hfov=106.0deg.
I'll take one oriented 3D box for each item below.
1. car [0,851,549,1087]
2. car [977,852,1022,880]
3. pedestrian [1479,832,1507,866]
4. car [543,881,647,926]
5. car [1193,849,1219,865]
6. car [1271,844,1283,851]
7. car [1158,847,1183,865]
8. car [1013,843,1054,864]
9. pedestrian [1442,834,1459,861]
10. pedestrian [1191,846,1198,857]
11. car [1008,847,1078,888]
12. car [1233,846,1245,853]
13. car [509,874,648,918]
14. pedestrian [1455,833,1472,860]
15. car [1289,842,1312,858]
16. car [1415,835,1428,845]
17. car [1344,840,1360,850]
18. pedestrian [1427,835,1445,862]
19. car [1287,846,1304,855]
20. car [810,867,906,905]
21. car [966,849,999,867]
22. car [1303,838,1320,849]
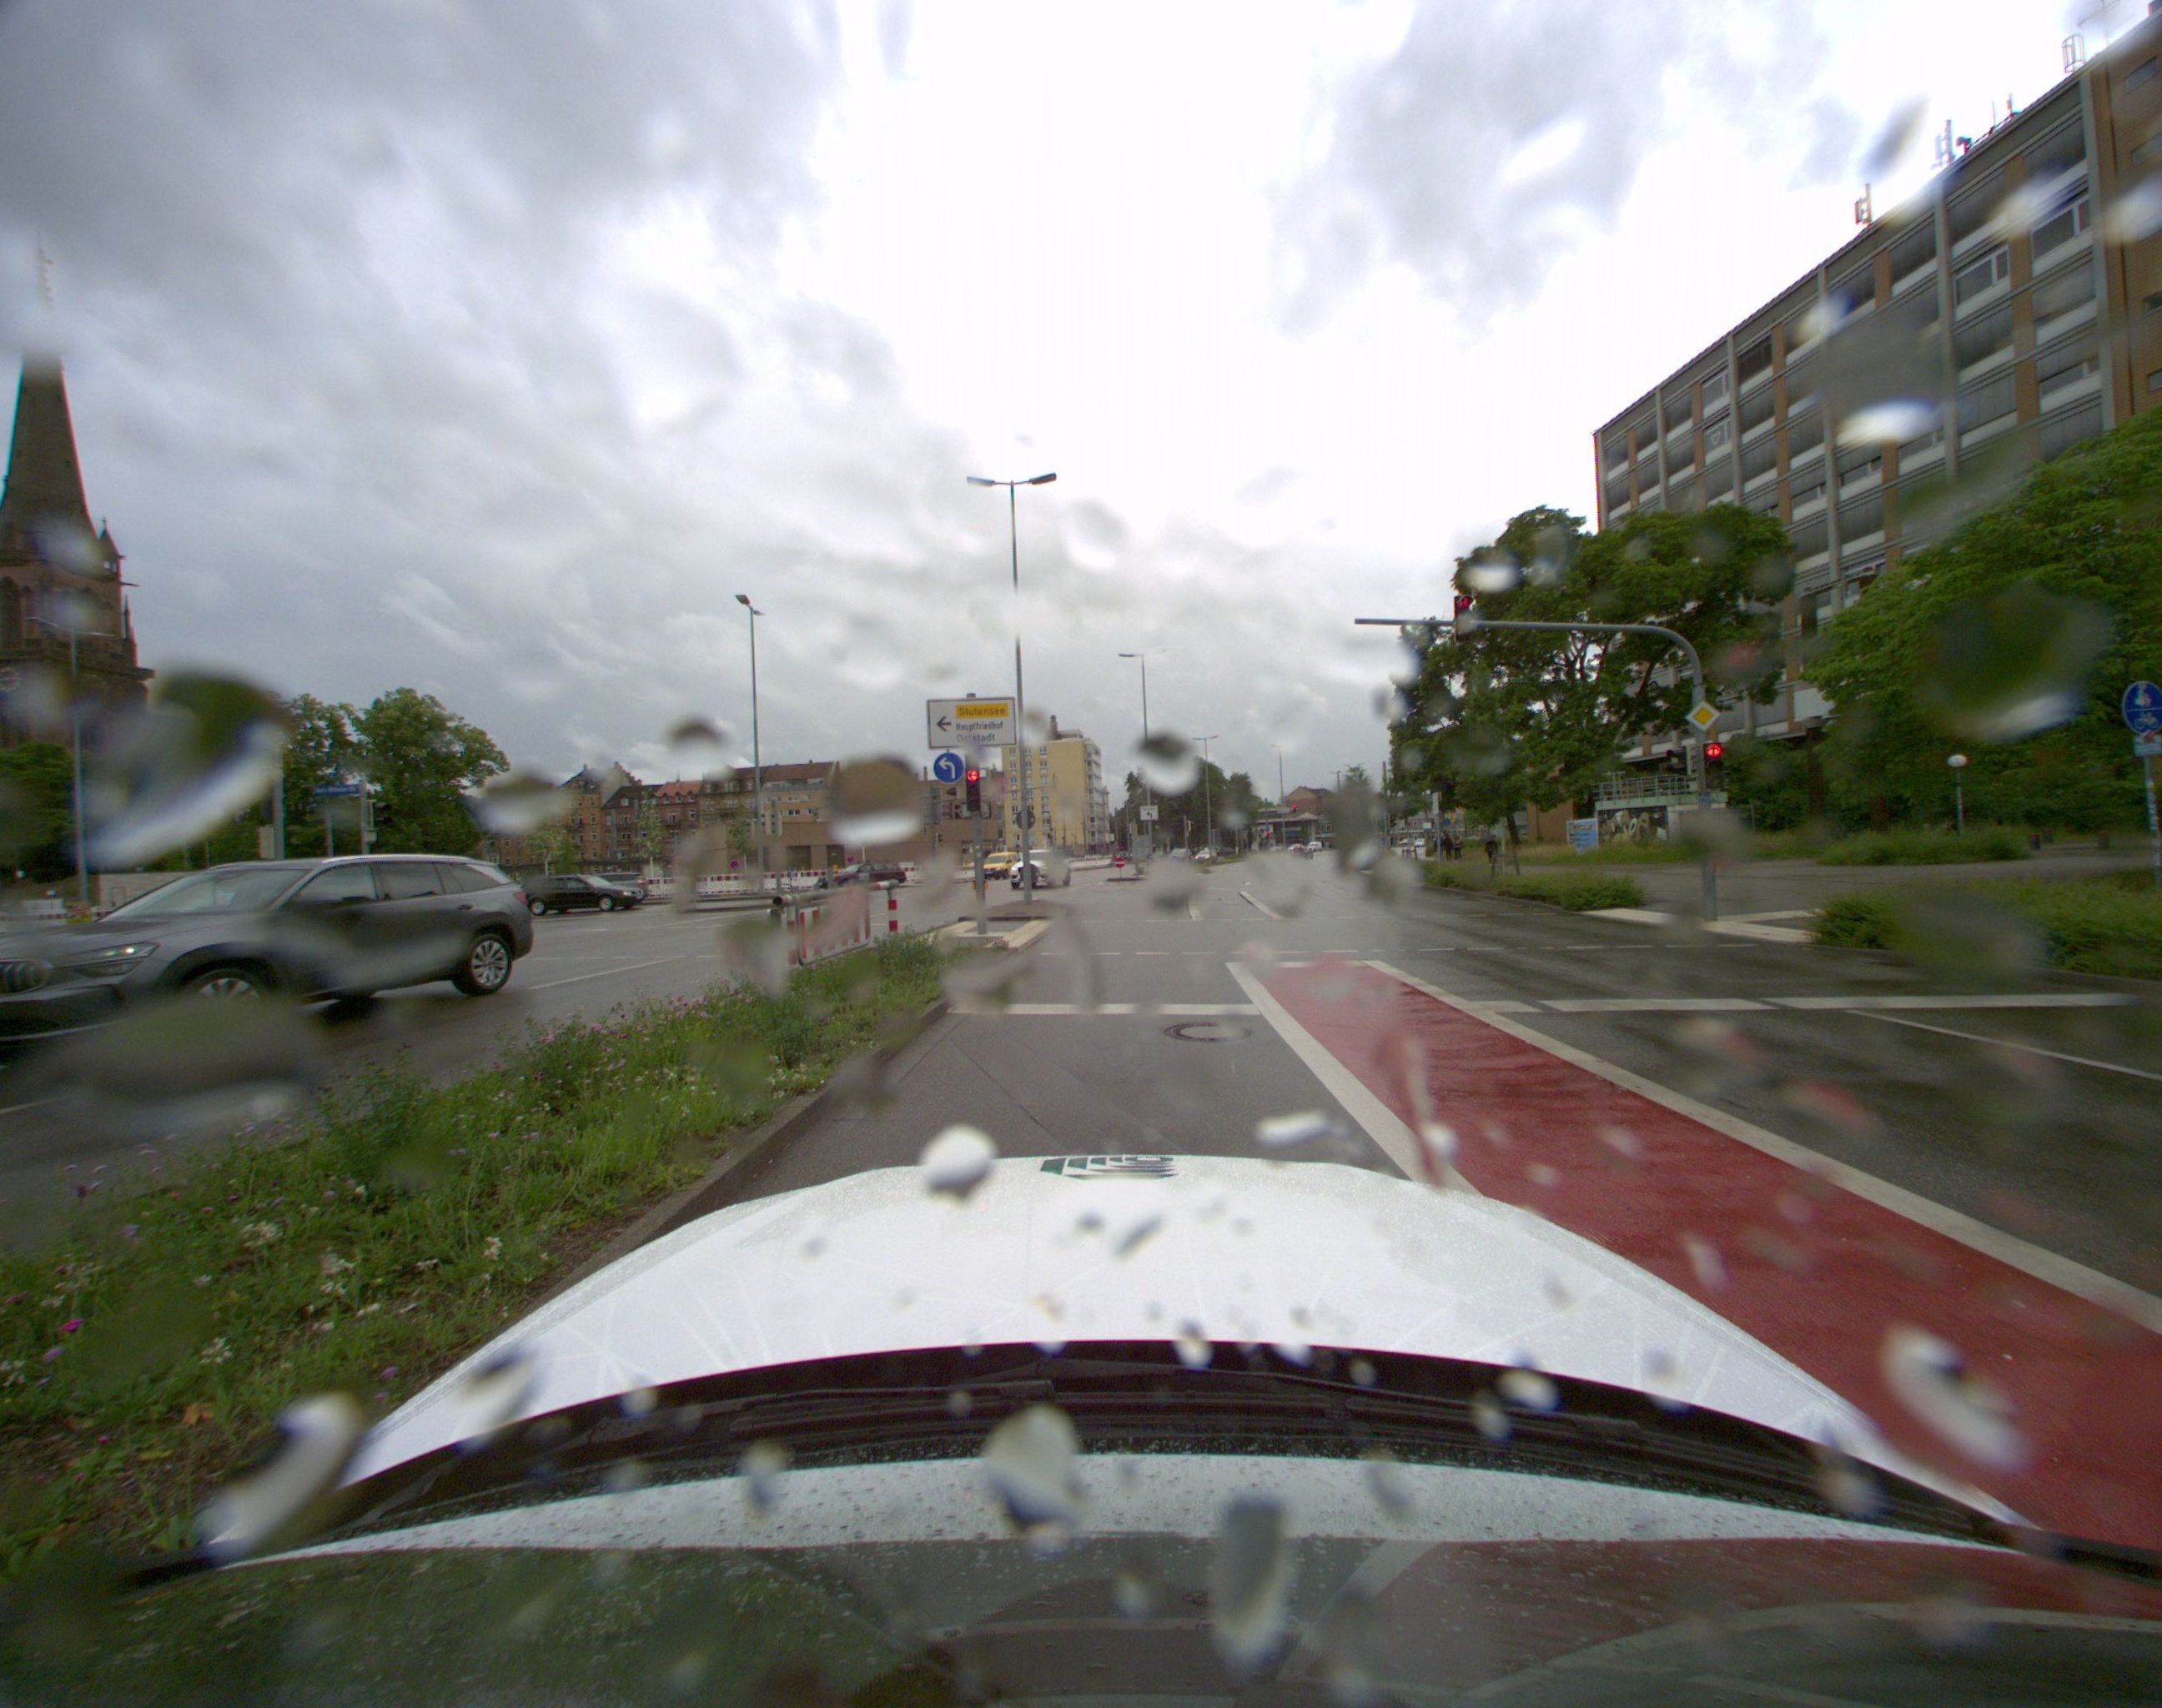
[{"bbox_3d":[-7.949,0.866,8.135,1.986,1.636,4.605,-4,0,2],"label":"car"},{"bbox_3d":[-5.311,0.753,53.620,1.694,1.706,4.167,-2,0,12],"label":"car"},{"bbox_3d":[20.209,-0.252,39.962,1.015,1.588,0.940,-2,0,13],"label":"pedestrian"},{"bbox_3d":[-21.744,2.194,36.589,3.829,1.706,1.696,-3,0,-27],"label":"car"},{"bbox_3d":[13.886,0.340,90.276,1.678,1.415,4.208,-3,2,24],"label":"car"},{"bbox_3d":[45.361,-1.489,188.197,1.773,1.643,4.184,-2,0,27],"label":"car"},{"bbox_3d":[9.880,0.209,89.533,1.679,1.690,4.206,-3,2,21],"label":"car"},{"bbox_3d":[-8.473,-0.024,145.563,6.708,3.380,2.814,-3,0,5],"label":"car"},{"bbox_3d":[22.238,-0.402,48.978,0.698,1.588,0.940,-2,0,13],"label":"pedestrian"},{"bbox_3d":[20.418,-0.450,146.174,1.089,1.813,1.118,-3,0,-1],"label":"pedestrian"},{"bbox_3d":[-1.680,0.589,38.153,1.813,1.682,5.184,-3,0,13],"label":"car"},{"bbox_3d":[37.319,-1.109,192.053,1.773,1.643,4.184,-2,0,27],"label":"car"},{"bbox_3d":[-19.172,1.573,31.186,4.183,1.402,1.616,-3,0,-4],"label":"car"},{"bbox_3d":[23.021,-0.441,49.063,0.698,1.588,0.940,-2,0,13],"label":"pedestrian"},{"bbox_3d":[24.176,-0.455,89.638,1.774,1.643,4.183,-2,0,25],"label":"car"},{"bbox_3d":[57.560,-2.392,137.503,1.774,1.643,4.183,-2,0,25],"label":"car"},{"bbox_3d":[50.316,-1.688,151.274,1.772,1.643,4.072,-2,0,33],"label":"car"},{"bbox_3d":[21.413,-0.360,49.117,0.748,1.588,0.940,-2,0,13],"label":"pedestrian"},{"bbox_3d":[39.440,-0.641,149.739,1.772,1.643,4.425,-2,0,32],"label":"car"},{"bbox_3d":[-11.497,1.621,42.181,1.689,1.706,4.488,-2,0,43],"label":"car"},{"bbox_3d":[-17.741,0.704,146.626,5.324,2.887,2.343,-3,0,5],"label":"car"},{"bbox_3d":[41.042,-1.832,144.910,1.772,1.858,4.186,-2,0,32],"label":"car"}]
